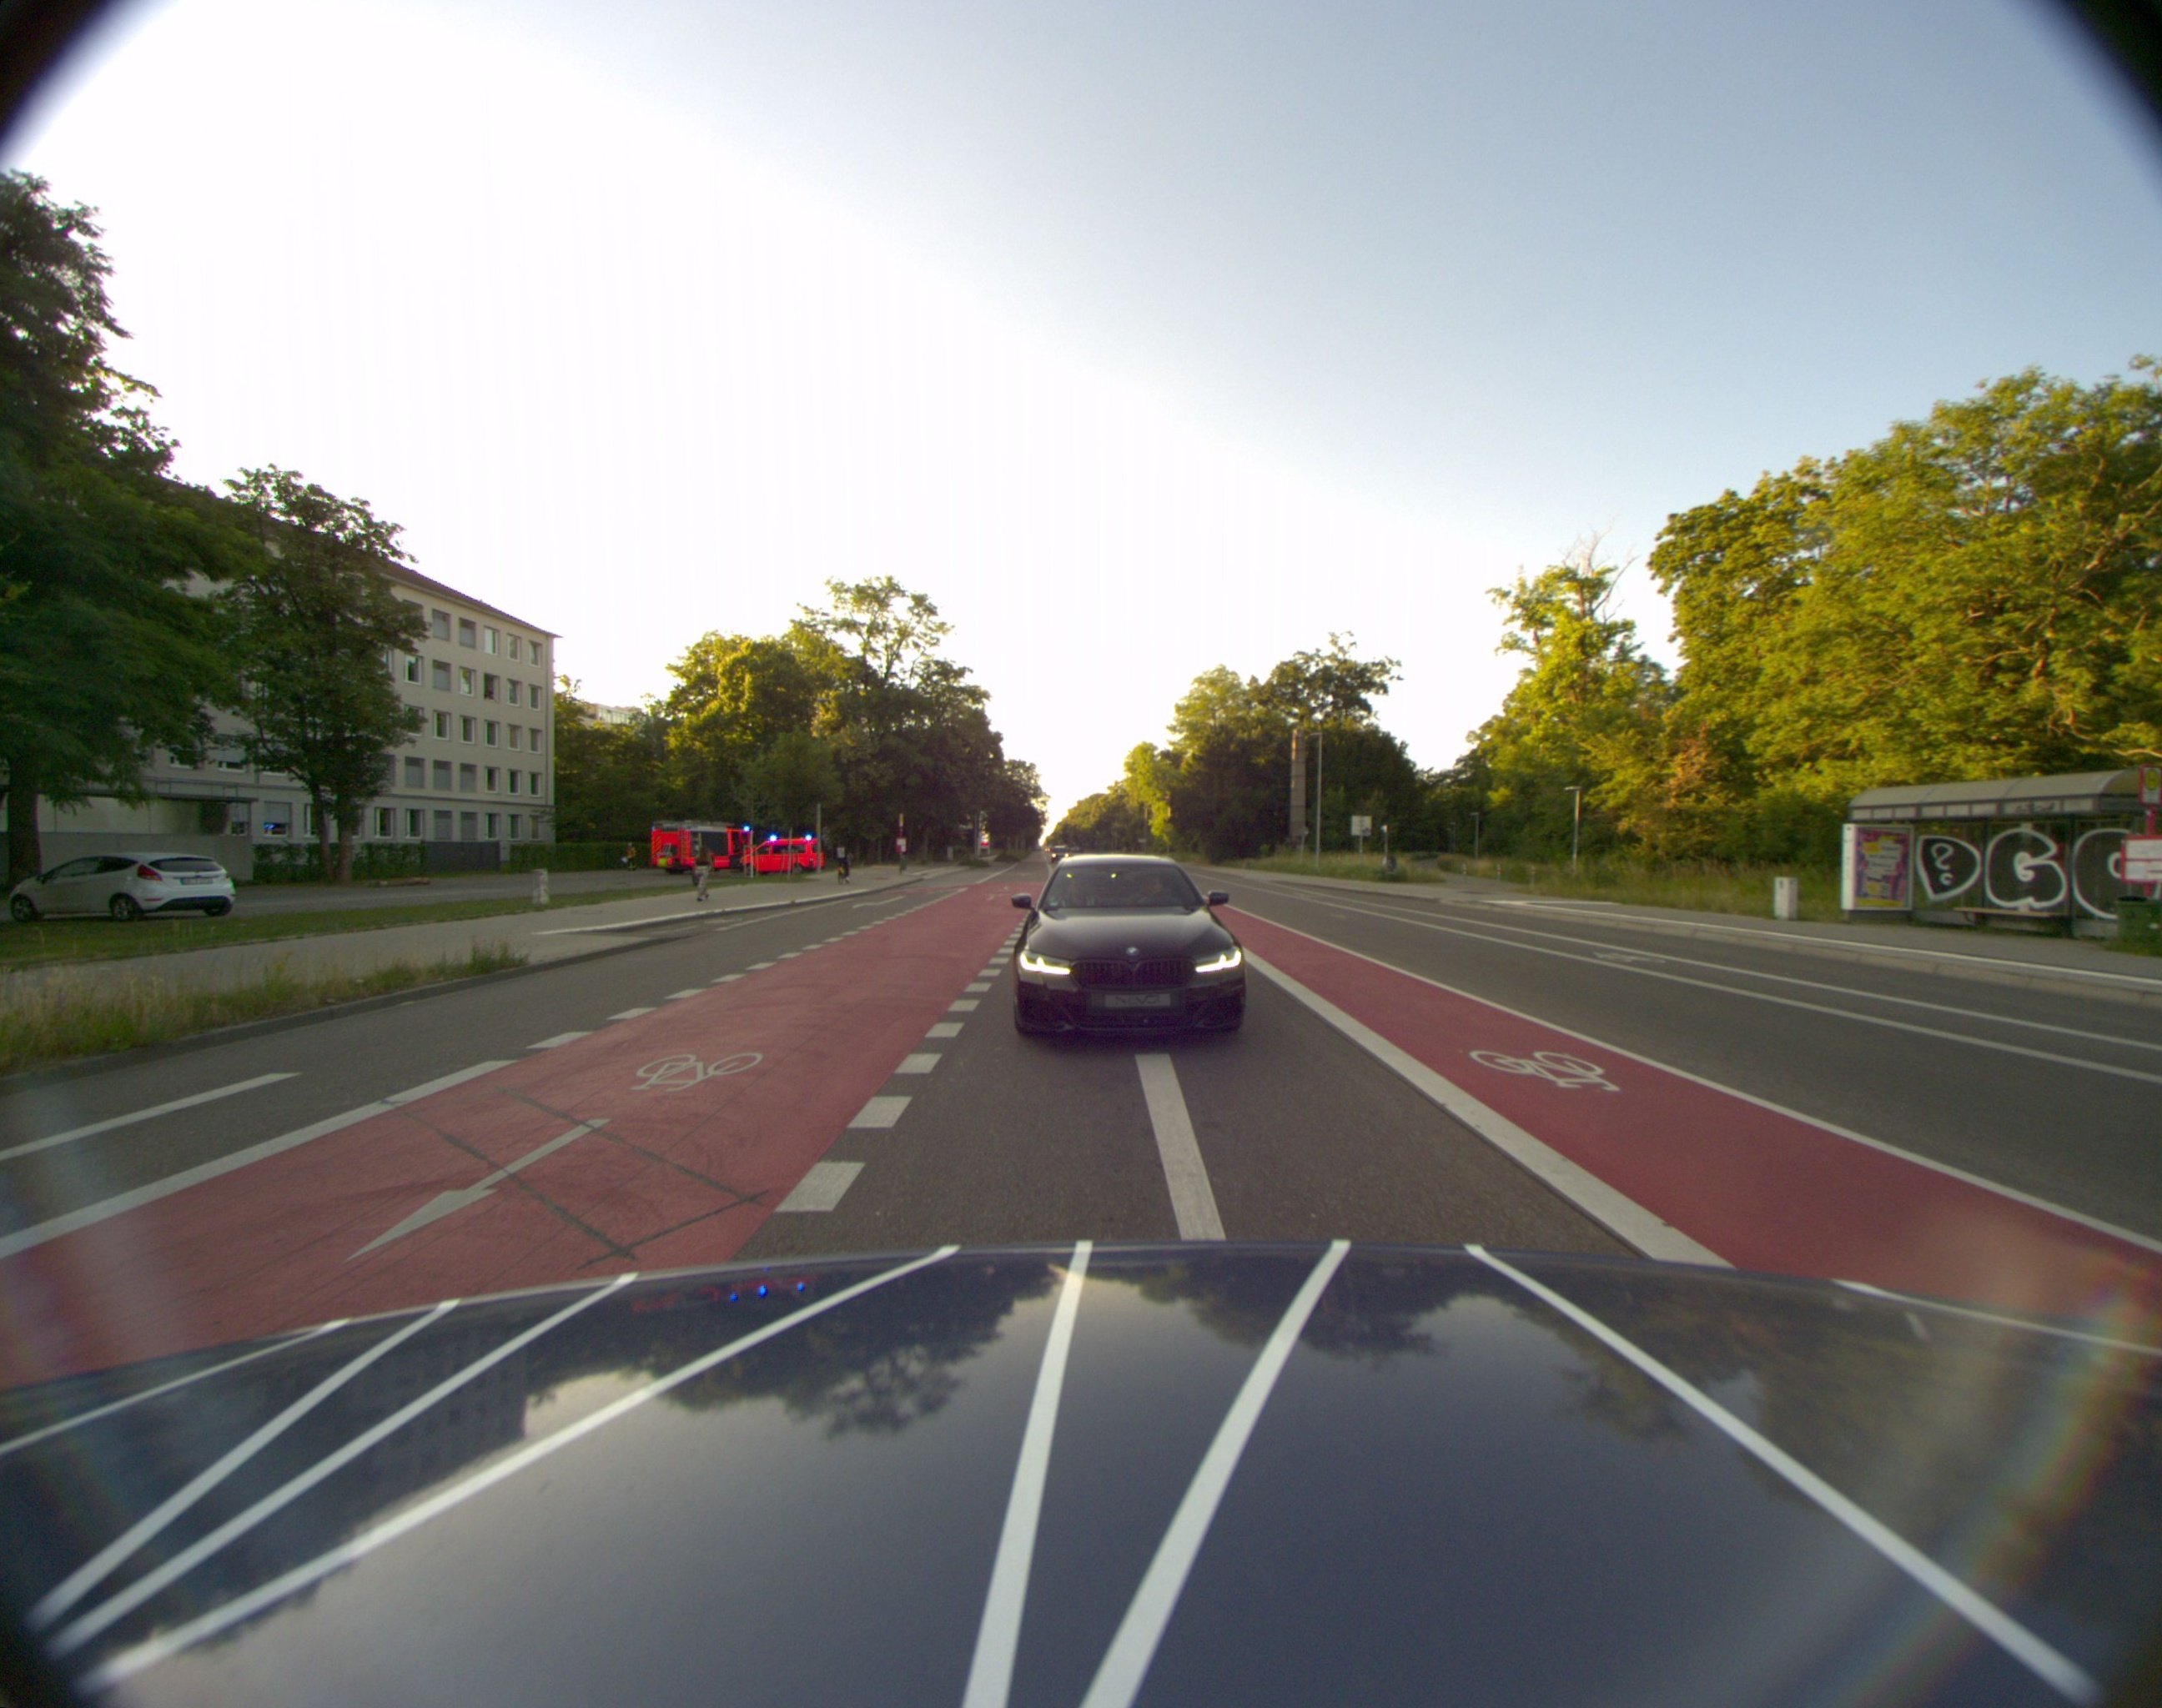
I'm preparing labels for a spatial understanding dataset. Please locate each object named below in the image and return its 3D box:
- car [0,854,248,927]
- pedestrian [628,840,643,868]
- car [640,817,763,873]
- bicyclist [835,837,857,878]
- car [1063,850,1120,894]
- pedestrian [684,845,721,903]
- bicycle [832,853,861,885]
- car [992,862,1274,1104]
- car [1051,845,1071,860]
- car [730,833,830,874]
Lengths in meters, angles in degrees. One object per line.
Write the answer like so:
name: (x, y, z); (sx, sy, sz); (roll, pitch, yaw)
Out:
car: (-20.821, 0.747, 16.586); (3.662, 1.451, 1.665); (0, 1, 5)
pedestrian: (-29.421, -0.025, 50.185); (0.847, 1.831, 0.681); (0, 1, -33)
car: (-23.626, -0.605, 47.930); (2.770, 3.225, 8.301); (0, 1, 7)
bicyclist: (-9.586, 0.137, 31.066); (0.571, 1.623, 1.037); (0, 1, 1)
car: (0.299, 0.581, 27.385); (1.850, 1.346, 4.702); (-2, 1, -1)
pedestrian: (-10.733, 0.562, 21.554); (0.682, 1.613, 0.688); (0, 1, 1)
bicycle: (-9.584, 0.593, 31.085); (0.571, 1.233, 1.899); (0, 1, 1)
car: (0.240, 0.873, 7.608); (1.818, 1.391, 5.211); (-2, 1, -2)
car: (-2.118, -0.173, 78.906); (1.851, 1.473, 4.701); (-2, 1, -4)
car: (-17.946, -0.045, 45.406); (5.164, 2.379, 2.000); (0, 1, 3)
